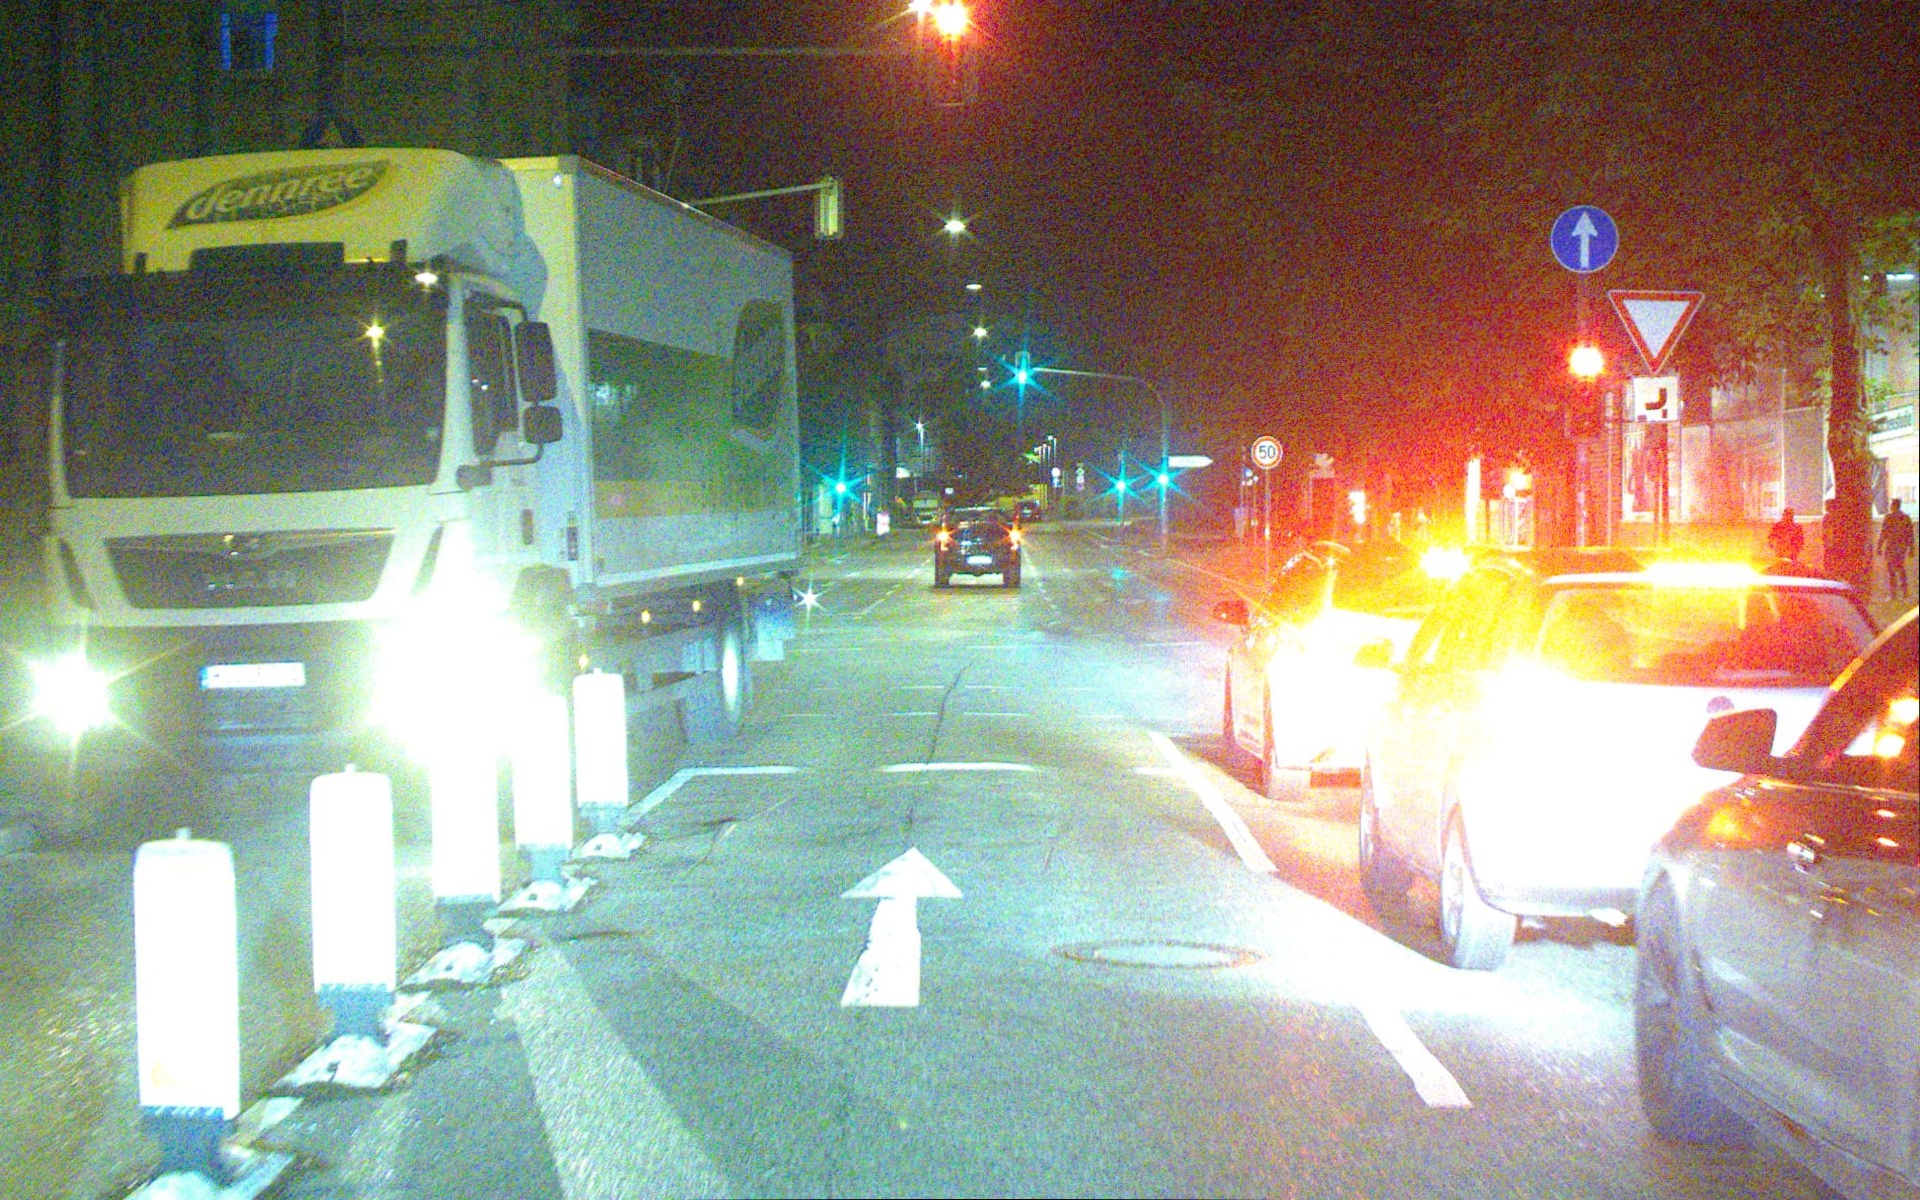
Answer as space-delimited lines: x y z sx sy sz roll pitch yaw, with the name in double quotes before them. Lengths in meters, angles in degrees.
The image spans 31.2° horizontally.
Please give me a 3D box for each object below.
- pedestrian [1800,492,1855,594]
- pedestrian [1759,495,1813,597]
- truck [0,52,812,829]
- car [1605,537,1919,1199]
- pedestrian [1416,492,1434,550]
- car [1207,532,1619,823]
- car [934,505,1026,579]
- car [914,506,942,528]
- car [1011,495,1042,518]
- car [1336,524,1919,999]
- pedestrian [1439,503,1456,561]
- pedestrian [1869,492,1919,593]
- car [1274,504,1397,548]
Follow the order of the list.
"pedestrian" 15.320 -1.010 60.728 0.738 1.763 0.907 -1 1 1
"pedestrian" 14.548 -0.955 60.571 0.714 1.763 0.907 -1 1 1
"truck" -3.086 -0.886 21.780 2.756 3.705 10.111 -1 1 6
"car" 2.608 0.653 6.844 1.805 1.489 4.730 2 1 1
"pedestrian" 16.250 -2.769 120.065 0.531 2.007 0.670 -1 1 0
"car" 2.482 0.358 19.800 1.729 1.430 4.211 2 1 -1
"car" 0.440 -1.345 78.523 1.993 1.634 4.000 0 1 -1
"car" -2.154 -5.497 228.019 1.777 1.385 4.001 -1 2 -1
"car" 4.708 -6.624 242.739 1.993 1.590 4.001 -1 1 -2
"car" 2.484 0.482 13.112 1.637 1.489 4.000 2 1 0
"pedestrian" 17.021 -2.369 120.102 0.488 2.007 0.551 -1 1 0
"pedestrian" 16.588 -1.016 60.528 0.901 1.763 0.907 -1 1 1
"car" 12.589 -2.496 115.417 3.987 1.381 1.771 -1 2 4
